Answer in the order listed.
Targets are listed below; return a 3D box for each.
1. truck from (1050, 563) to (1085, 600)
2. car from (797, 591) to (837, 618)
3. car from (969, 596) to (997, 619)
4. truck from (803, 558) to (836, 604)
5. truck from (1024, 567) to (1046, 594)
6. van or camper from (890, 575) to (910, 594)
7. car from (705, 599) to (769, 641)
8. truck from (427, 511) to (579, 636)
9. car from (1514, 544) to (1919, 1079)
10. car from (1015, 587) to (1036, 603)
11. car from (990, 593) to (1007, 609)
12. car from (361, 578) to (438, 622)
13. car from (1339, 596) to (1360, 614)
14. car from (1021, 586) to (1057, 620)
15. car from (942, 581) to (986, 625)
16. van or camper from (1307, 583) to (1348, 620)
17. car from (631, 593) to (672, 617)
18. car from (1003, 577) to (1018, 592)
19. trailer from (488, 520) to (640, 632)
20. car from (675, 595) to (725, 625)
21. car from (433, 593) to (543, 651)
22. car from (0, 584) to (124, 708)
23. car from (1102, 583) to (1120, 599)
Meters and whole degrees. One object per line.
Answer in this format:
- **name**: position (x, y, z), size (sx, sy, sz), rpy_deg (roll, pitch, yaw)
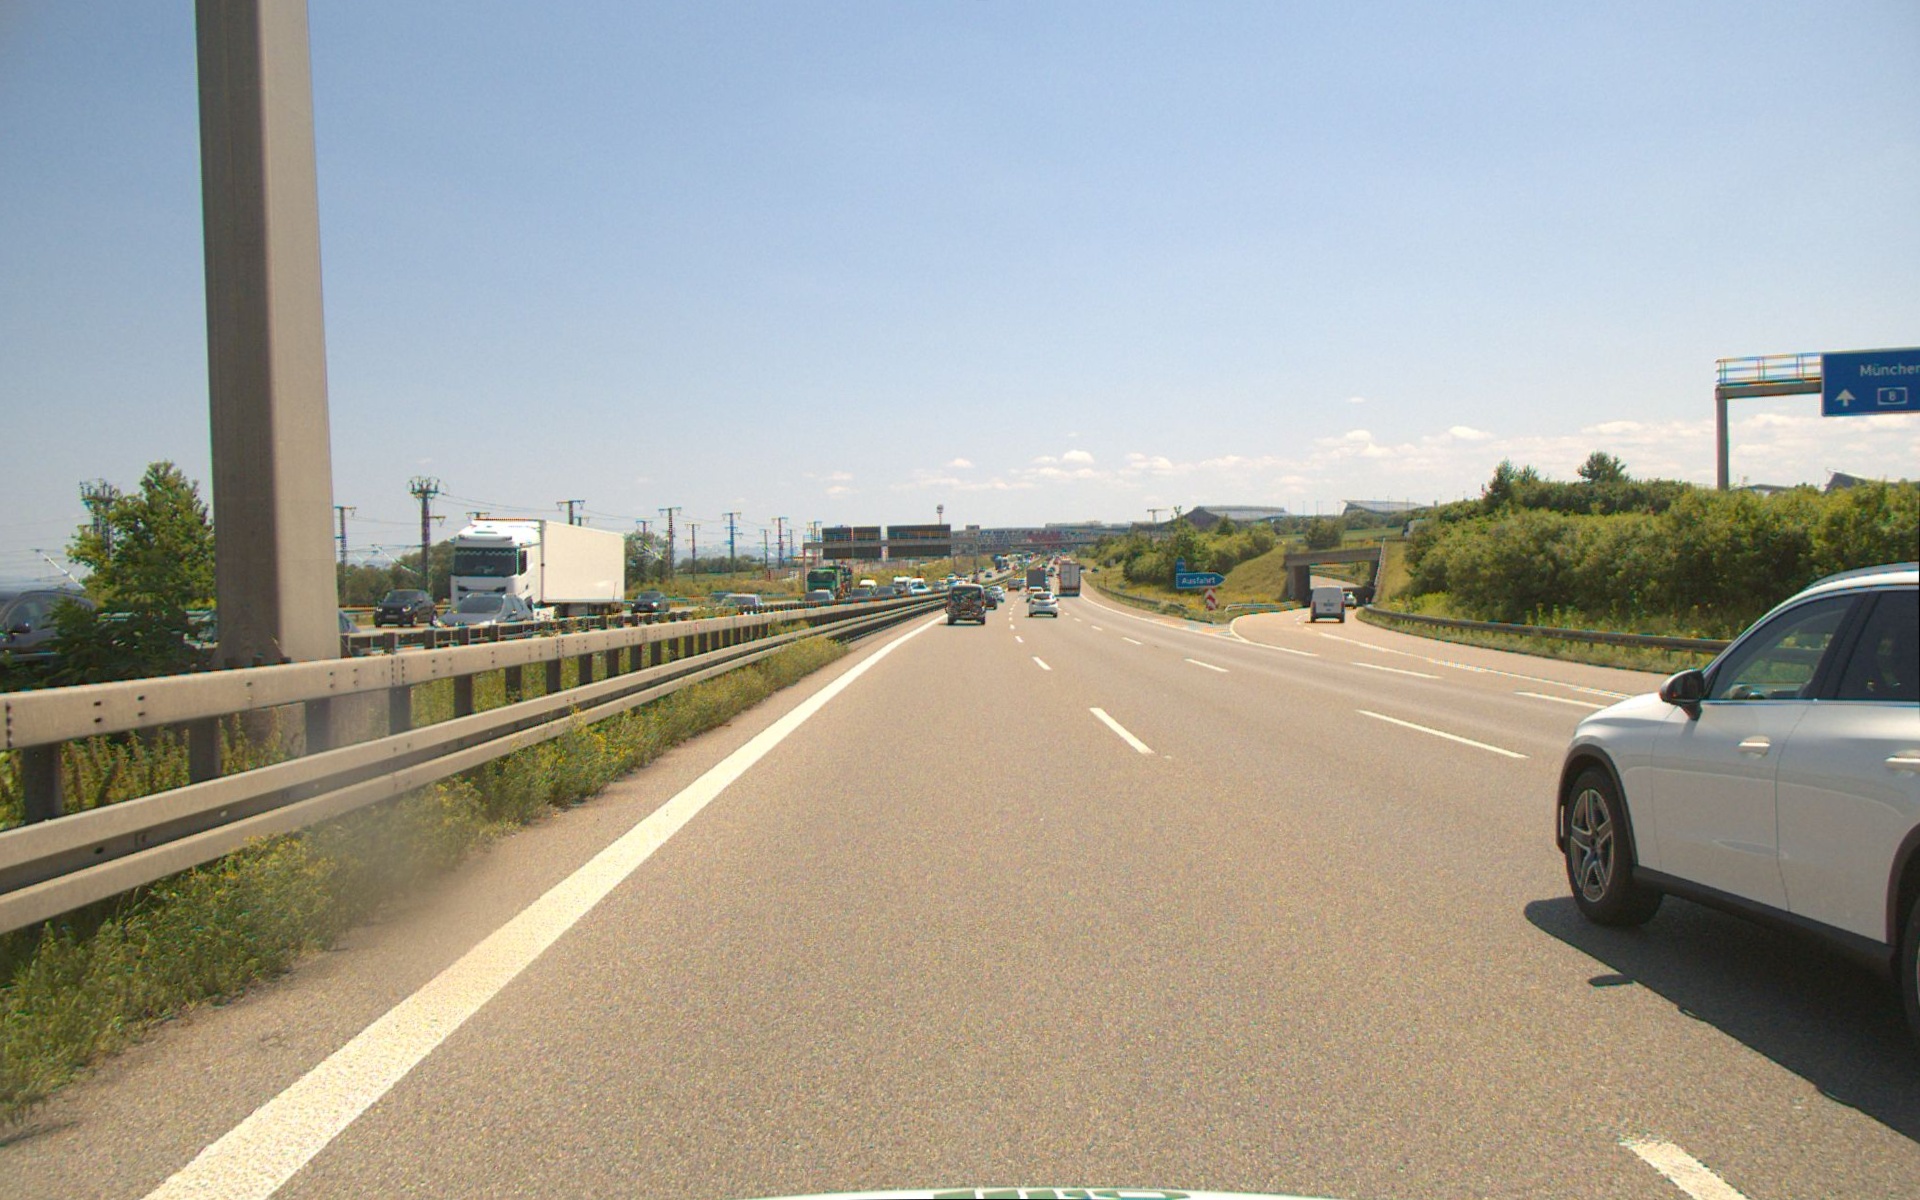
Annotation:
- **truck**: position (13.470, -2.361, 207.421), size (3.955, 4.336, 11.761), rpy_deg (0, 2, 2)
- **car**: position (-8.321, 0.248, 96.546), size (1.804, 1.486, 4.997), rpy_deg (0, 0, 0)
- **car**: position (1.750, 0.549, 124.205), size (1.886, 1.656, 4.519), rpy_deg (0, -1, 4)
- **truck**: position (-14.003, -1.856, 165.271), size (2.703, 4.319, 6.977), rpy_deg (0, -1, 0)
- **truck**: position (9.523, -2.500, 211.949), size (2.646, 3.163, 10.660), rpy_deg (0, -1, 2)
- **van or camper**: position (-8.635, -2.275, 239.063), size (2.465, 2.712, 8.066), rpy_deg (0, 0, 2)
- **car**: position (-8.879, 0.763, 66.134), size (1.695, 1.616, 5.357), rpy_deg (0, 0, 1)
- **truck**: position (-16.609, -0.908, 60.725), size (3.180, 4.283, 7.695), rpy_deg (0, 0, 2)
- **car**: position (3.930, 0.687, 6.408), size (1.859, 1.676, 4.997), rpy_deg (0, -1, -1)
- **car**: position (6.348, -0.479, 160.871), size (1.941, 1.499, 4.001), rpy_deg (0, -1, 2)
- **car**: position (3.733, 0.102, 161.260), size (1.543, 1.580, 3.965), rpy_deg (0, -1, 2)
- **car**: position (-23.468, 0.026, 69.346), size (1.767, 1.779, 4.000), rpy_deg (0, -1, 1)
- **car**: position (38.953, 0.528, 165.328), size (1.951, 1.780, 4.002), rpy_deg (0, -1, 15)
- **car**: position (4.673, 0.198, 97.937), size (1.887, 1.952, 4.517), rpy_deg (0, -1, 0)
- **car**: position (0.214, 0.152, 76.740), size (1.887, 1.952, 4.949), rpy_deg (0, -1, 1)
- **van or camper**: position (20.526, 0.103, 92.565), size (2.110, 2.049, 4.308), rpy_deg (0, -1, 11)
- **car**: position (-19.042, 0.290, 102.223), size (1.661, 1.450, 4.455), rpy_deg (0, 0, 0)
- **car**: position (7.603, -2.405, 251.028), size (2.141, 2.037, 4.001), rpy_deg (1, 3, 0)
- **trailer**: position (-16.307, -0.863, 69.190), size (3.156, 4.266, 11.412), rpy_deg (0, -1, 2)
- **car**: position (-13.611, 0.512, 86.794), size (1.804, 1.486, 4.997), rpy_deg (0, 0, 0)
- **car**: position (-13.270, 0.583, 46.786), size (1.707, 1.535, 5.101), rpy_deg (0, 0, -1)
- **car**: position (-13.164, 0.580, 22.391), size (1.707, 1.588, 3.999), rpy_deg (0, 0, -1)
- **car**: position (19.717, -1.211, 216.270), size (1.887, 1.952, 4.518), rpy_deg (0, 2, 0)
